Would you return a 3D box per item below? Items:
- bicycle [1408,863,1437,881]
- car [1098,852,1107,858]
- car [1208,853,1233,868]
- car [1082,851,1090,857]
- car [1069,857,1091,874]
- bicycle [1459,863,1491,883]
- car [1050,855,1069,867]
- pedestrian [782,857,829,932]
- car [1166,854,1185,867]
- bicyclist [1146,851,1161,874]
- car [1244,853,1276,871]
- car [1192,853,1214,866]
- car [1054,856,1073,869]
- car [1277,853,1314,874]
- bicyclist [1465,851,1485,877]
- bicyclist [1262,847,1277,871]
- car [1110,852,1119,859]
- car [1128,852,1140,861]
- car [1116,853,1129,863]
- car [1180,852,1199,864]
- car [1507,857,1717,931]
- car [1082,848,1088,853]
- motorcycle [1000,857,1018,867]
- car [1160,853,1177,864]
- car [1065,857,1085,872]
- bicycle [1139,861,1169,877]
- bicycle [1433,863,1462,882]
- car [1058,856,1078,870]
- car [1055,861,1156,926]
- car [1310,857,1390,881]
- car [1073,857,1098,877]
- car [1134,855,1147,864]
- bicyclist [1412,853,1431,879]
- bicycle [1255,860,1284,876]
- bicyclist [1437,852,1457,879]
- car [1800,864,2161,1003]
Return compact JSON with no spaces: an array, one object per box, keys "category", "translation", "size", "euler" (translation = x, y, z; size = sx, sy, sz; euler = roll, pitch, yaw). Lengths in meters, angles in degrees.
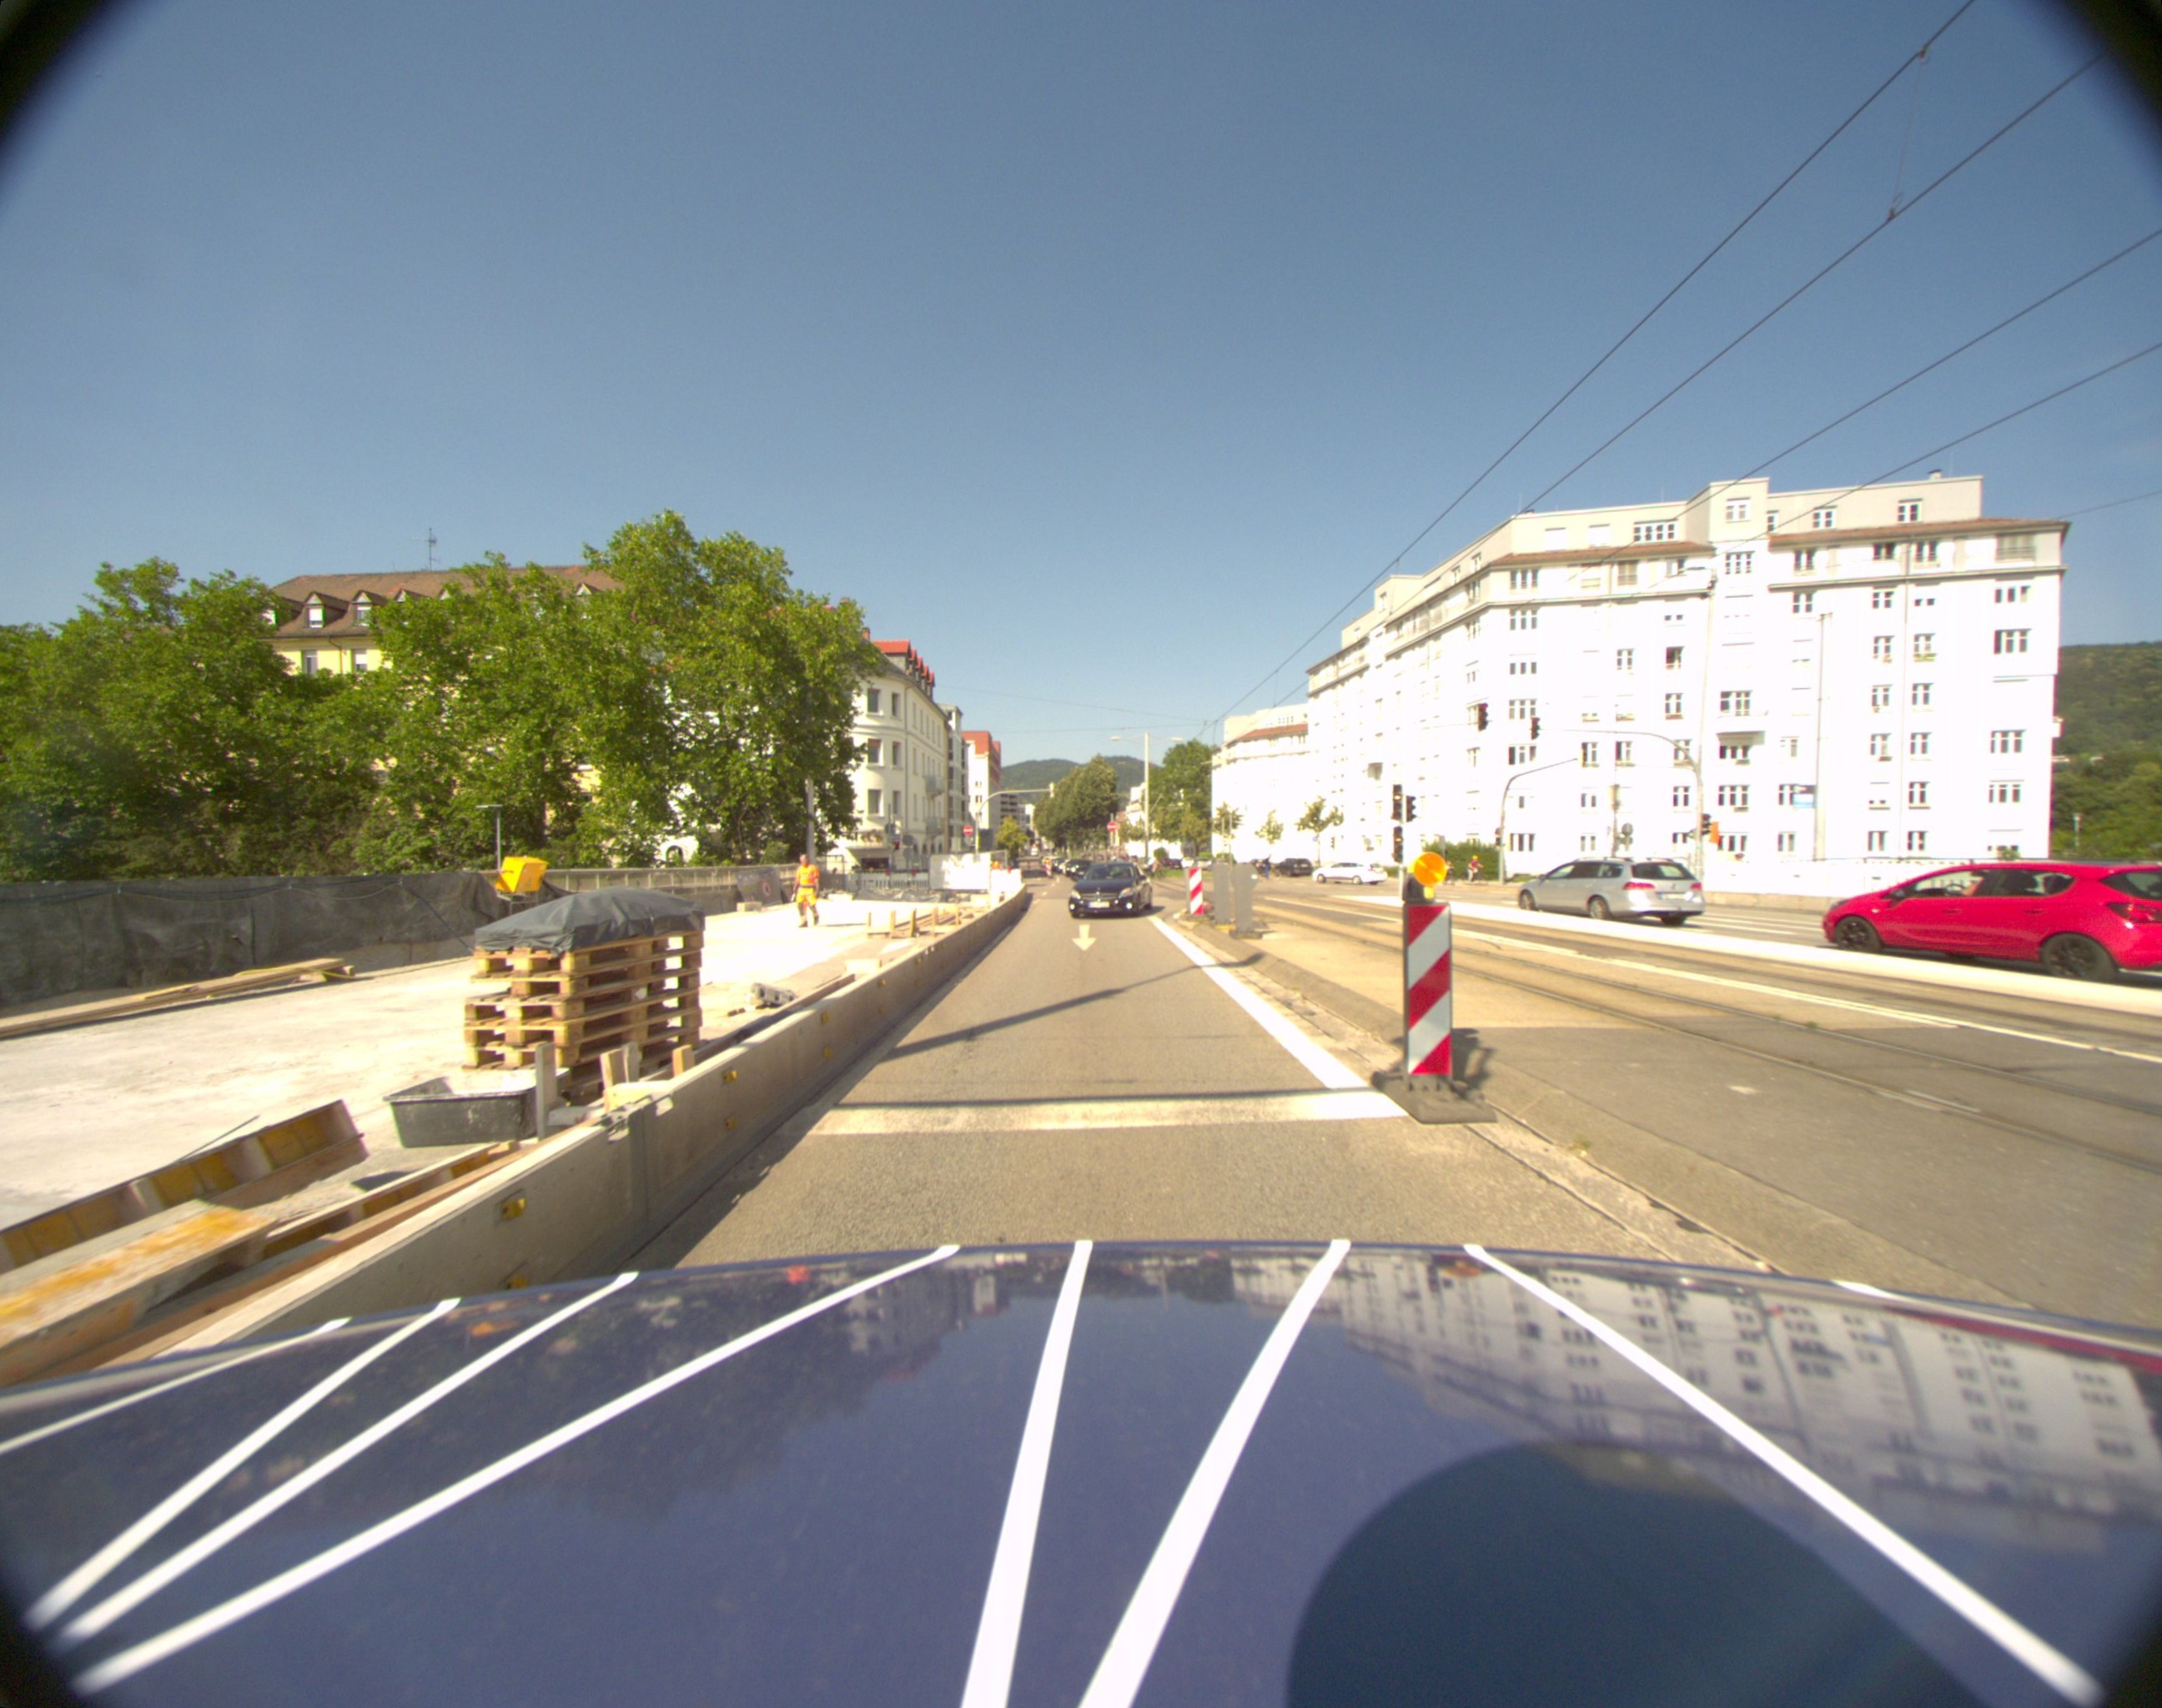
[{"category":"bicycle","translation":[20.944,1.091,46.632],"size":[0.618,1.093,1.784],"euler":[-2,1,-11]},{"category":"car","translation":[5.169,0.202,180.554],"size":[1.798,1.476,3.739],"euler":[-1,0,-3]},{"category":"car","translation":[15.268,0.691,83.398],"size":[1.740,1.476,3.738],"euler":[-1,0,-5]},{"category":"car","translation":[1.284,0.073,191.792],"size":[1.798,1.476,3.739],"euler":[-1,0,-3]},{"category":"car","translation":[-0.093,0.930,64.417],"size":[1.767,1.346,3.999],"euler":[-1,0,-1]},{"category":"bicycle","translation":[23.152,1.102,44.721],"size":[0.605,1.093,1.812],"euler":[-1,0,-15]},{"category":"car","translation":[-2.617,0.842,91.301],"size":[1.768,1.346,3.997],"euler":[-2,0,-8]},{"category":"pedestrian","translation":[-6.796,0.980,18.772],"size":[0.821,1.784,0.864],"euler":[1,1,-1]},{"category":"car","translation":[11.373,0.759,91.238],"size":[1.594,1.484,3.660],"euler":[1,0,-4]},{"category":"bicyclist","translation":[4.915,0.581,51.398],"size":[0.785,1.540,0.710],"euler":[-2,-2,-13]},{"category":"car","translation":[16.603,0.723,70.708],"size":[1.740,1.628,3.738],"euler":[-1,0,-7]},{"category":"car","translation":[14.677,0.696,91.338],"size":[1.740,1.476,3.738],"euler":[-1,0,-5]},{"category":"car","translation":[-1.955,0.882,84.103],"size":[1.768,1.346,3.998],"euler":[-2,0,-6]},{"category":"car","translation":[17.495,0.733,62.203],"size":[1.740,1.628,3.738],"euler":[-1,0,-5]},{"category":"bicyclist","translation":[23.157,0.576,44.649],"size":[0.598,1.469,0.916],"euler":[-1,1,-15]},{"category":"bicyclist","translation":[13.324,0.382,53.690],"size":[1.008,1.643,0.810],"euler":[-2,-1,14]},{"category":"car","translation":[7.519,0.262,171.236],"size":[1.739,1.476,3.739],"euler":[0,0,-3]},{"category":"car","translation":[9.930,0.463,143.301],"size":[1.740,1.476,3.738],"euler":[-1,0,-5]},{"category":"car","translation":[6.592,0.629,120.711],"size":[1.696,1.547,3.654],"euler":[0,0,-3]},{"category":"car","translation":[14.073,0.527,98.671],"size":[1.740,1.476,3.738],"euler":[-1,0,-5]},{"category":"car","translation":[12.051,0.821,17.705],"size":[1.642,1.429,4.643],"euler":[1,0,0]},{"category":"car","translation":[1.220,-1.080,230.823],"size":[1.798,1.672,3.739],"euler":[-1,0,-3]},{"category":"motorcycle","translation":[-9.200,1.034,97.557],"size":[2.177,1.159,0.744],"euler":[0,1,1]},{"category":"car","translation":[12.804,0.623,111.676],"size":[1.740,1.476,3.738],"euler":[-1,0,-5]},{"category":"car","translation":[-0.598,0.942,70.485],"size":[1.767,1.346,3.999],"euler":[-1,0,-2]},{"category":"bicycle","translation":[4.941,0.999,51.406],"size":[1.820,0.985,0.709],"euler":[-2,1,-13]},{"category":"bicycle","translation":[21.979,1.094,45.609],"size":[0.628,1.093,1.784],"euler":[-2,1,-12]},{"category":"car","translation":[-1.356,0.928,76.906],"size":[1.767,1.346,3.998],"euler":[-1,0,-4]},{"category":"car","translation":[0.786,0.957,20.053],"size":[1.701,1.400,4.627],"euler":[-2,0,13]},{"category":"car","translation":[16.384,0.891,46.414],"size":[1.705,1.404,4.474],"euler":[0,0,-34]},{"category":"car","translation":[0.364,0.954,57.144],"size":[1.766,1.313,4.000],"euler":[-1,0,1]},{"category":"car","translation":[10.579,0.928,135.239],"size":[1.740,1.476,3.738],"euler":[-1,0,-5]},{"category":"bicyclist","translation":[20.921,0.722,46.661],"size":[0.624,1.580,0.917],"euler":[-2,1,-12]},{"category":"bicycle","translation":[13.312,0.981,53.695],"size":[1.909,1.014,0.822],"euler":[-2,-1,14]},{"category":"bicyclist","translation":[21.961,0.689,45.641],"size":[0.624,1.570,0.917],"euler":[-2,1,-12]},{"category":"car","translation":[12.301,0.891,10.190],"size":[1.537,1.429,3.980],"euler":[1,0,0]}]
